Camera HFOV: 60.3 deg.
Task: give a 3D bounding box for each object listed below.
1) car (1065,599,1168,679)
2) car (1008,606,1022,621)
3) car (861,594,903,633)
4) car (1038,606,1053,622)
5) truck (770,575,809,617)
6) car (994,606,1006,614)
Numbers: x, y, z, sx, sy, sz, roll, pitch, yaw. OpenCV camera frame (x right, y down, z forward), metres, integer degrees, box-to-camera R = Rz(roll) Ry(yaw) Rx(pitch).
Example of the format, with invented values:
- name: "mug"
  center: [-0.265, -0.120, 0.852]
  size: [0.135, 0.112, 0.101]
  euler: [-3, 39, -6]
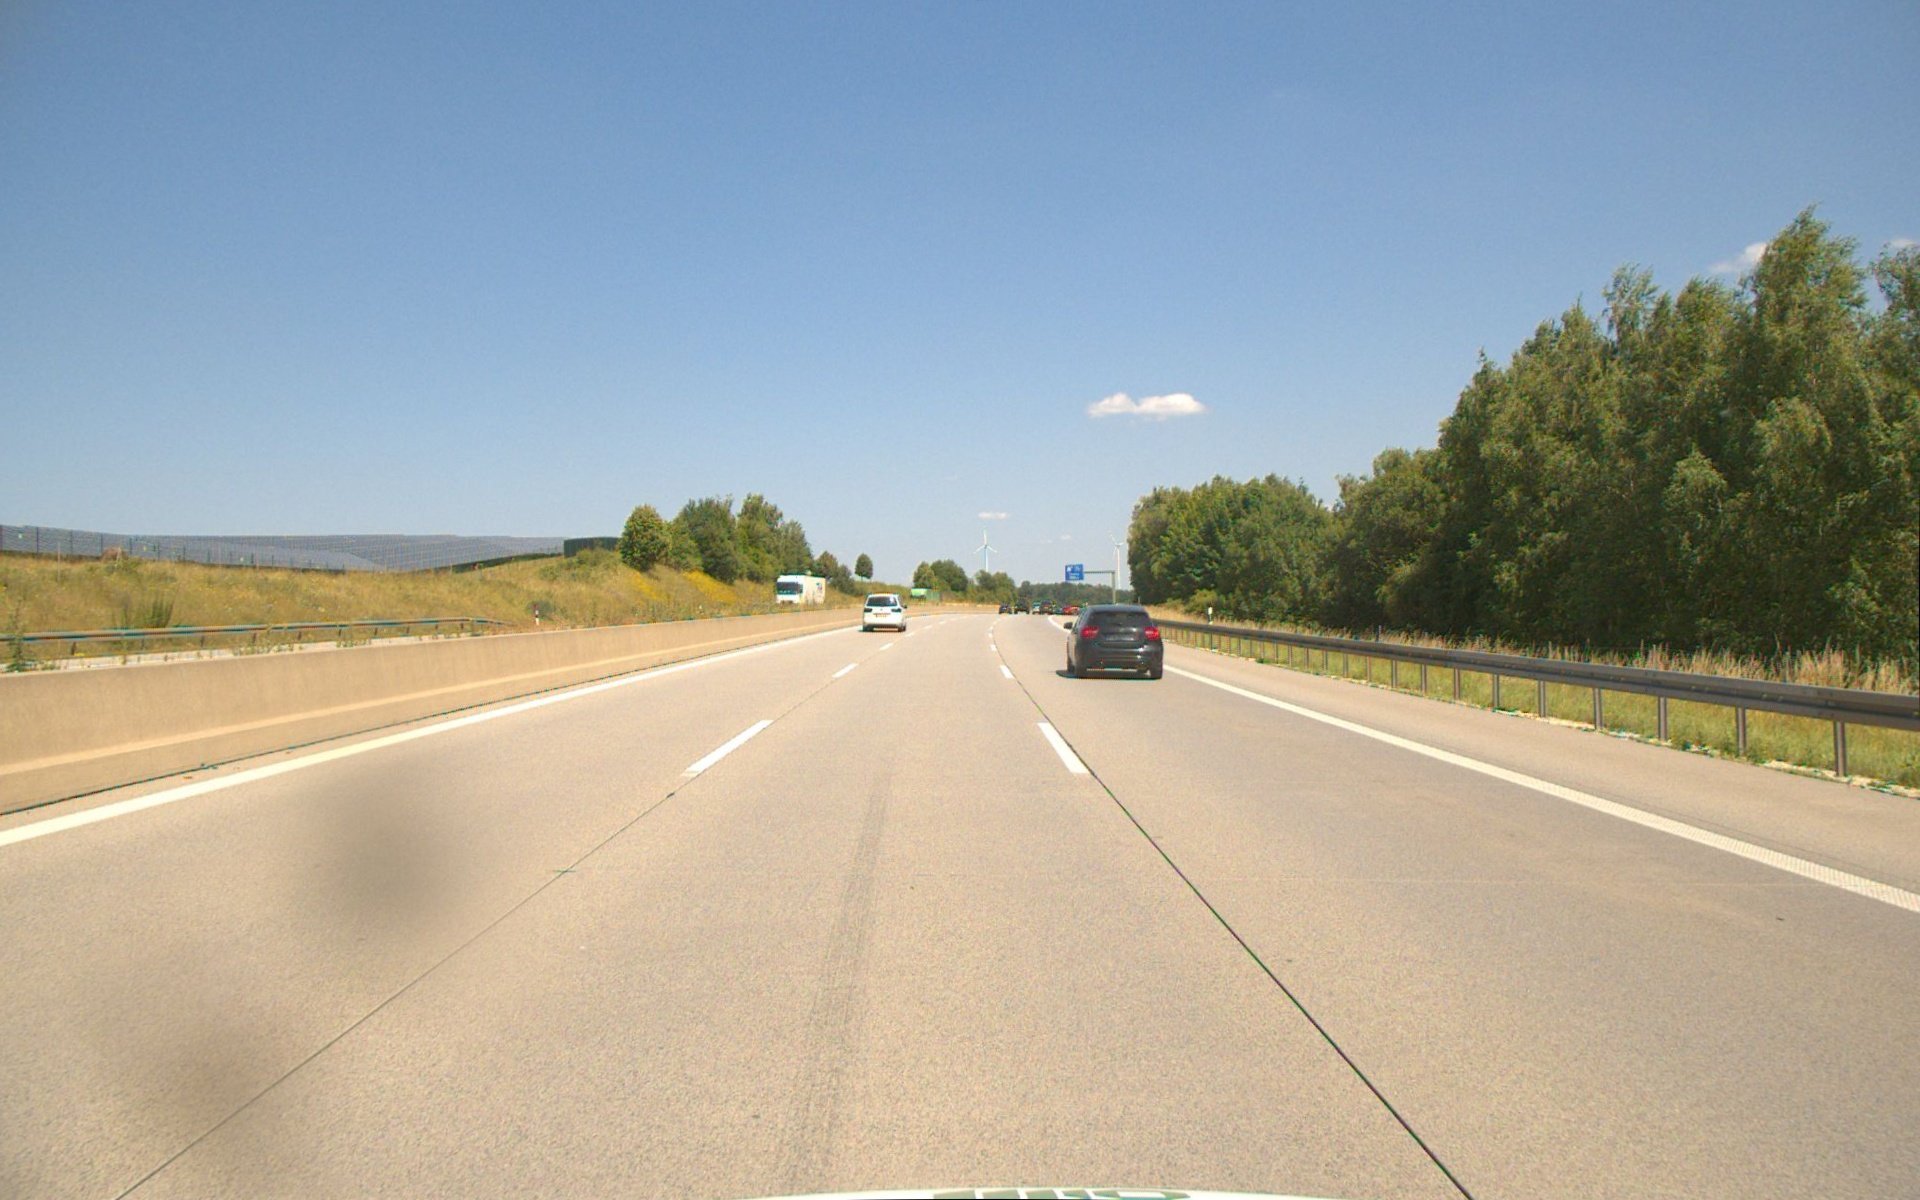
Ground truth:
- name: "car"
  center: [3.151, 0.756, 34.093]
  size: [1.870, 1.518, 4.193]
  euler: [1, 0, 2]
- name: "car"
  center: [7.208, 1.739, 218.343]
  size: [1.789, 1.971, 3.809]
  euler: [0, 0, 1]
- name: "car"
  center: [-3.580, 0.637, 76.762]
  size: [1.808, 1.738, 6.034]
  euler: [0, 0, -1]
- name: "car"
  center: [10.463, 1.678, 202.407]
  size: [1.789, 1.940, 4.001]
  euler: [0, 0, 3]
- name: "truck"
  center: [-16.991, -0.414, 164.791]
  size: [2.928, 4.131, 6.871]
  euler: [0, 0, 2]
- name: "car"
  center: [5.997, 1.494, 246.721]
  size: [1.622, 1.217, 3.959]
  euler: [3, 0, -1]
